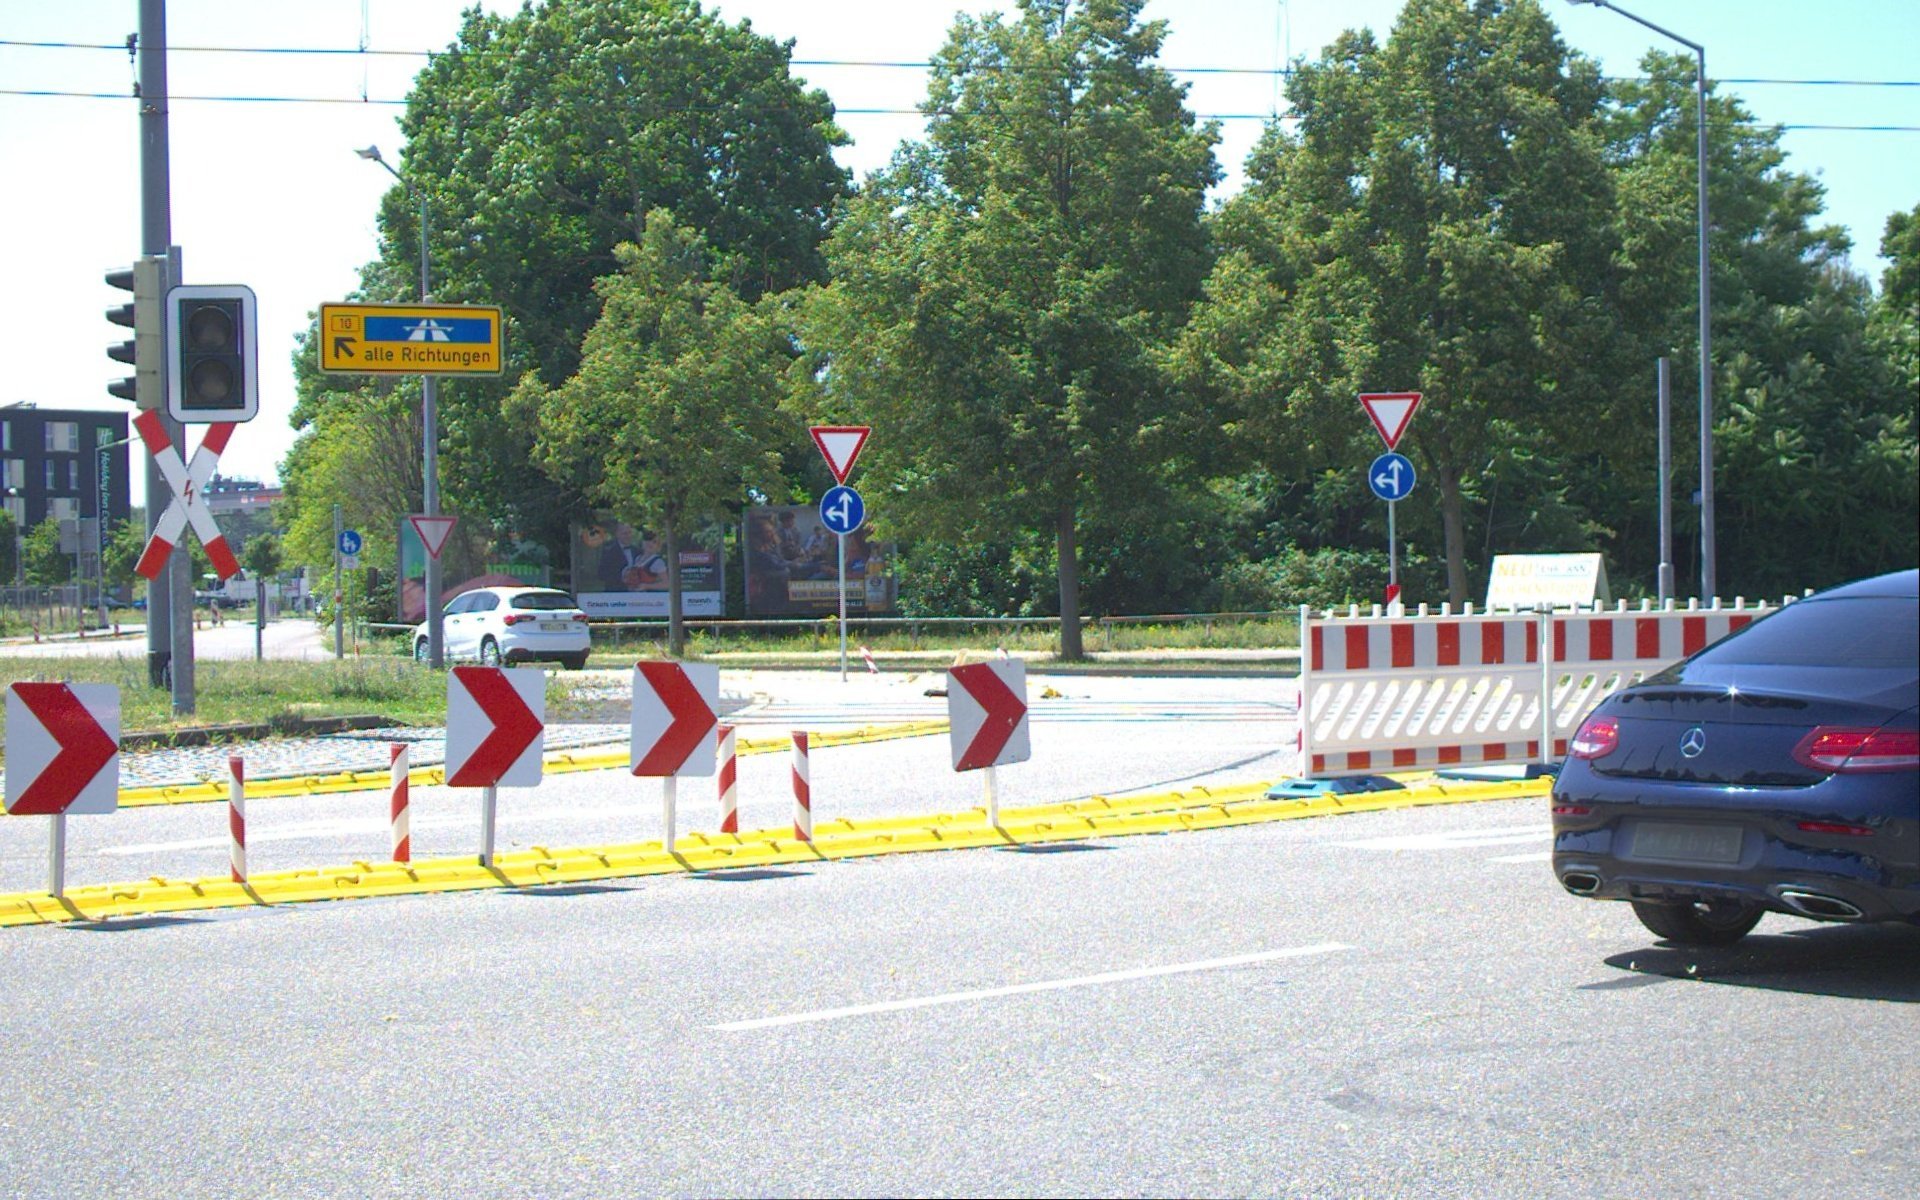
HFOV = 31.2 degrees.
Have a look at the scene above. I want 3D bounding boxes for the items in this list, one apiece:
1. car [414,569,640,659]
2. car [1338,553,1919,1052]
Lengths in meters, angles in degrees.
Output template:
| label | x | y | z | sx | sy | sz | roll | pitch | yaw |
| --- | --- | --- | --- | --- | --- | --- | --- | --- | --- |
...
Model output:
| label | x | y | z | sx | sy | sz | roll | pitch | yaw |
| --- | --- | --- | --- | --- | --- | --- | --- | --- | --- |
| car | -7.654 | 0.237 | 60.423 | 1.994 | 1.481 | 4.365 | -1 | 1 | -37 |
| car | 3.772 | 0.553 | 12.243 | 4.940 | 1.431 | 1.857 | -1 | 1 | -38 |
